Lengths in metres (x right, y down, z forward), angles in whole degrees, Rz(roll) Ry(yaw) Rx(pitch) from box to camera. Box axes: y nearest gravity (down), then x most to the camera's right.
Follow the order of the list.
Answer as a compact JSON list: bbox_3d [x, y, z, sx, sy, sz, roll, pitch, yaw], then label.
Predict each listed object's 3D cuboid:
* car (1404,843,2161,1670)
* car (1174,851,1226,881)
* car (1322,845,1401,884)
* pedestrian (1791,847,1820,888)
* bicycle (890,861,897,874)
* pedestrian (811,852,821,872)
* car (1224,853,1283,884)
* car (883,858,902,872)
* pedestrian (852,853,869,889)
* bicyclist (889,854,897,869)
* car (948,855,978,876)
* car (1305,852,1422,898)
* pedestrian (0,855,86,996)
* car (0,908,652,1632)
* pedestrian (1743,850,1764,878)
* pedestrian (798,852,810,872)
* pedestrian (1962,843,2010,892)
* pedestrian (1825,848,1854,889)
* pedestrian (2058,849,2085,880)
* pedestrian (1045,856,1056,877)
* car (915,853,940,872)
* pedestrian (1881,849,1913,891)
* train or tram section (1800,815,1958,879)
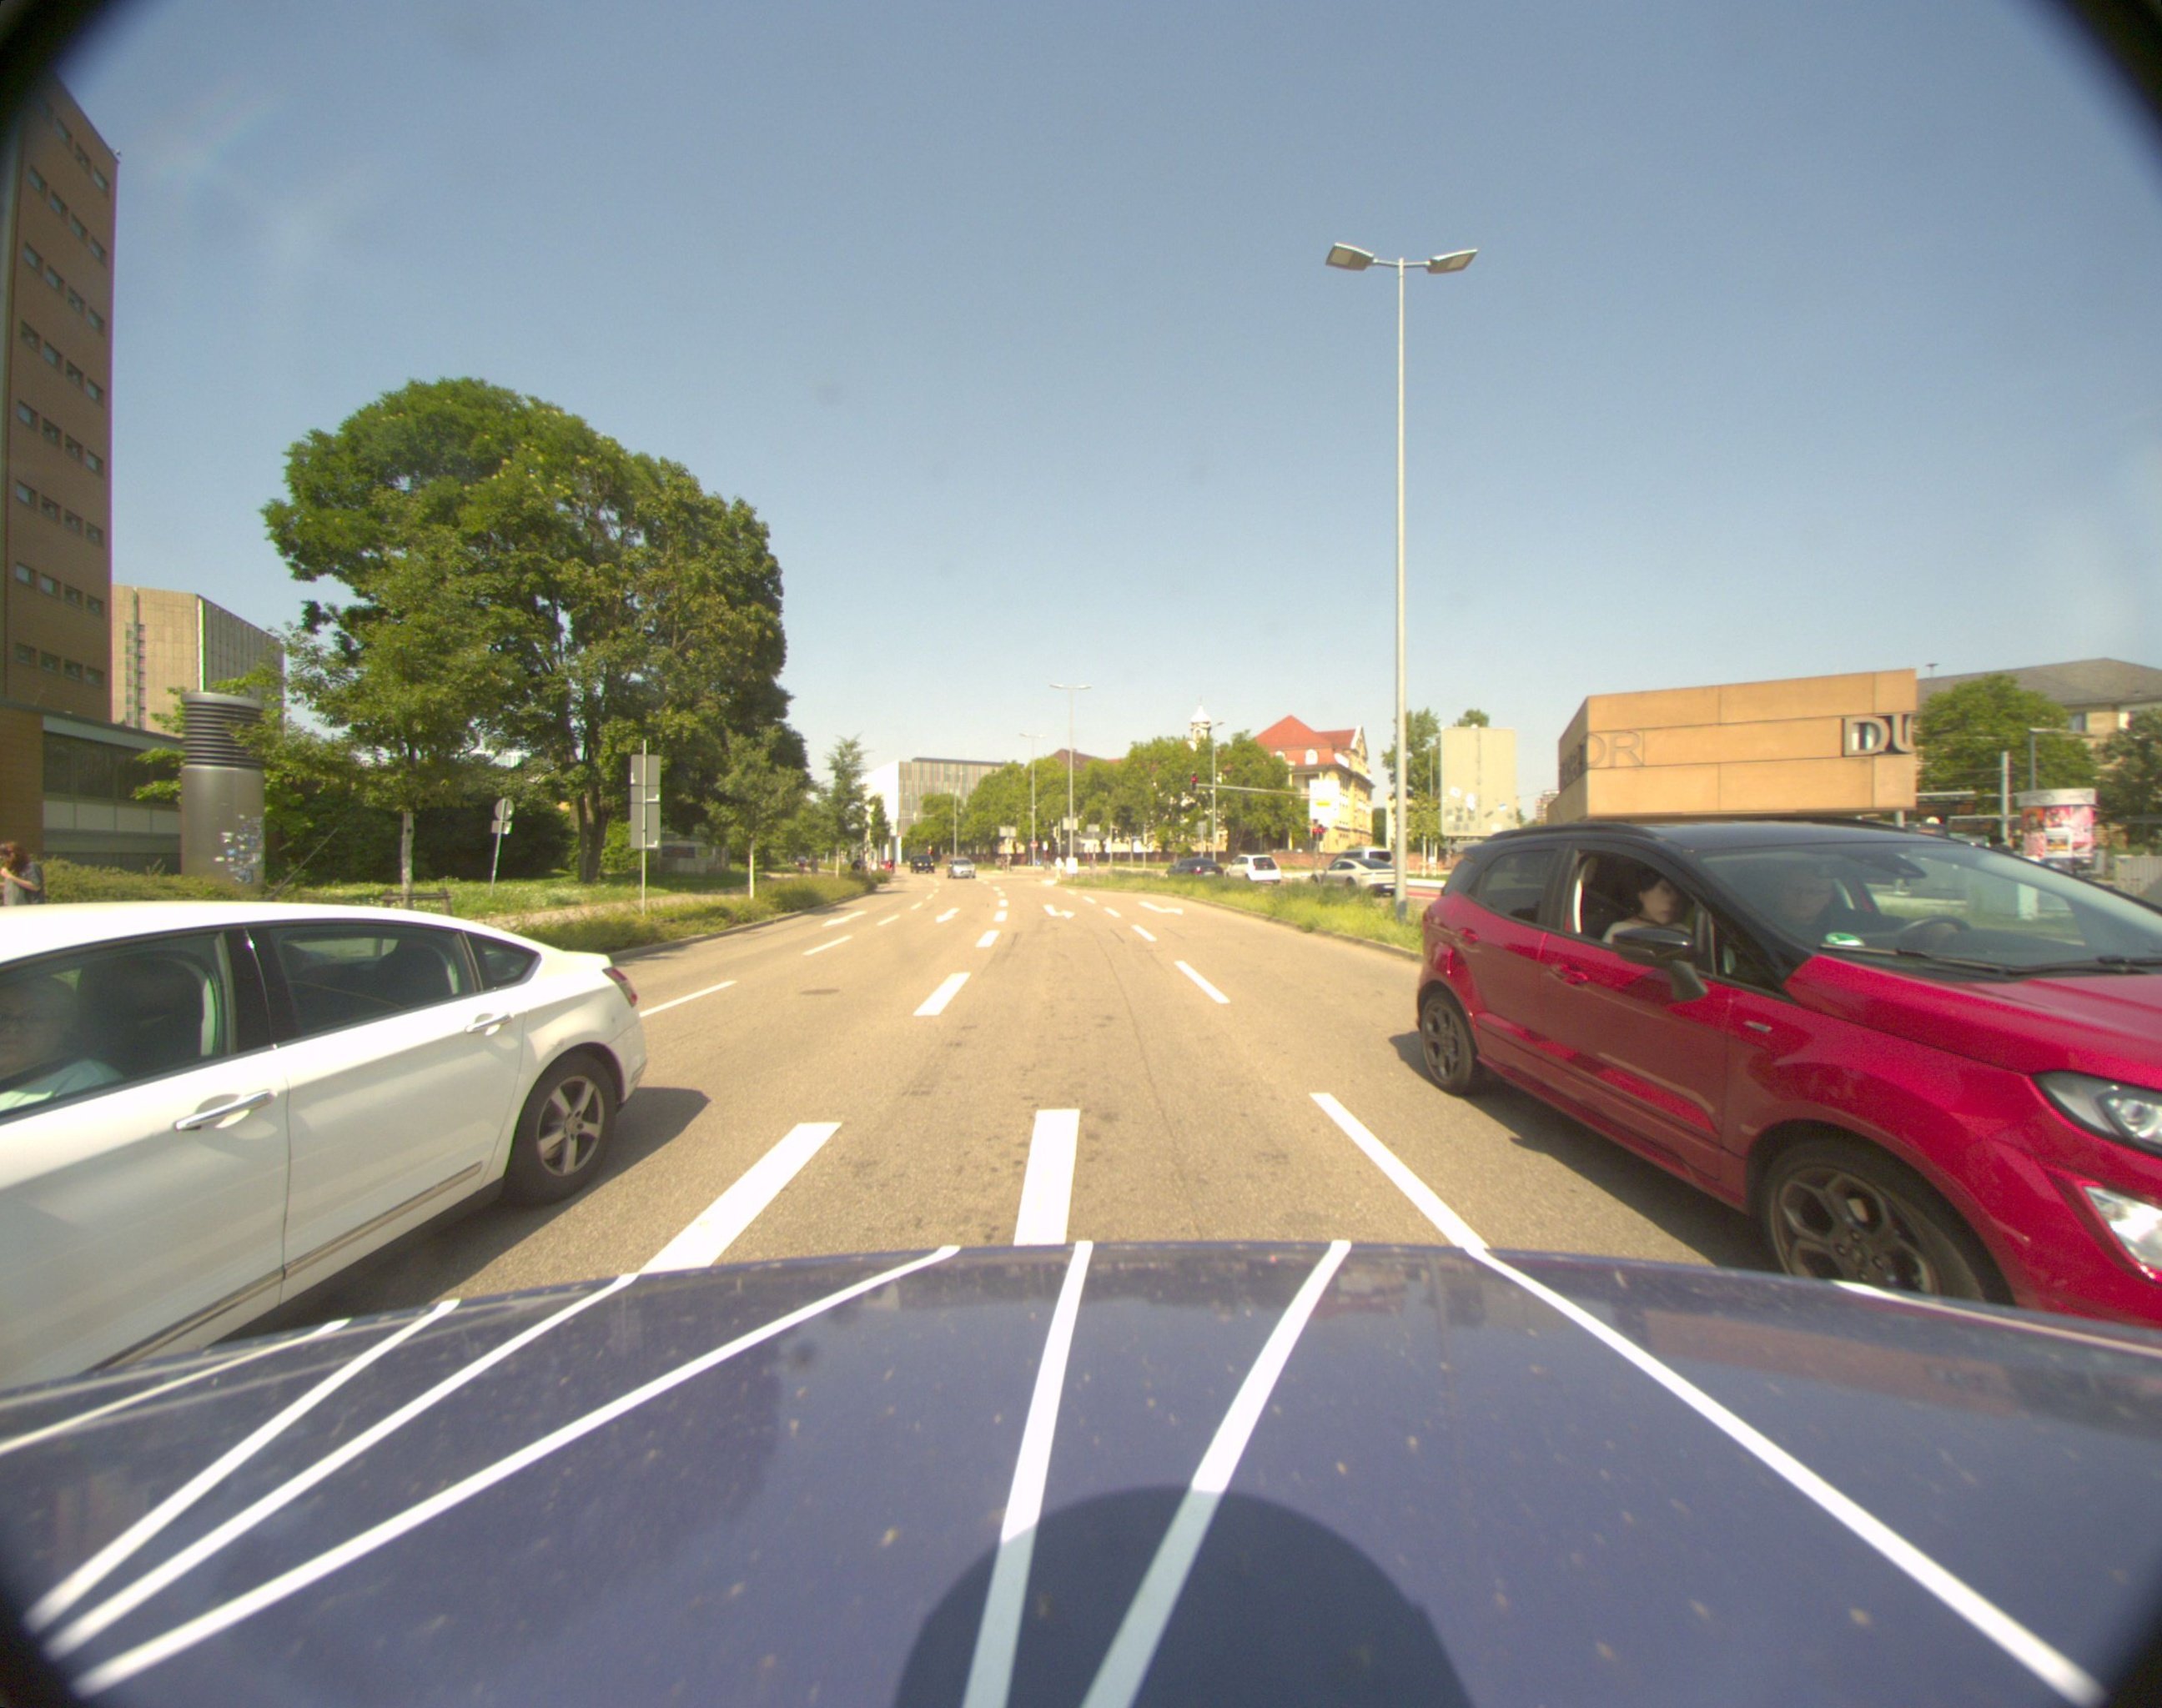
[{"bbox_3d":[3.031,0.776,3.361,1.694,1.577,3.845,-2,0,3],"label":"car"},{"bbox_3d":[5.717,0.553,36.856,1.526,1.417,3.474,0,0,-8],"label":"car"},{"bbox_3d":[13.829,0.477,37.689,1.869,1.843,3.911,0,1,-12],"label":"car"},{"bbox_3d":[26.663,0.503,27.965,0.539,1.488,0.541,0,1,-1],"label":"pedestrian"},{"bbox_3d":[-17.458,1.290,70.686,0.595,1.162,2.232,-1,0,-15],"label":"bicycle"},{"bbox_3d":[-17.754,0.515,50.876,0.577,1.291,0.436,-3,1,-20],"label":"pedestrian"},{"bbox_3d":[8.693,0.705,38.550,1.527,1.470,3.473,0,0,-13],"label":"car"},{"bbox_3d":[-20.177,1.171,81.319,1.652,1.422,3.810,-2,0,-18],"label":"car"},{"bbox_3d":[-11.797,0.914,40.646,0.823,1.892,0.630,-1,1,-12],"label":"pedestrian"},{"bbox_3d":[-17.483,0.717,70.734,0.680,1.392,1.048,-1,1,-15],"label":"bicyclist"},{"bbox_3d":[-9.187,0.893,58.839,1.661,1.521,4.527,-2,0,-17],"label":"car"},{"bbox_3d":[10.491,0.728,28.626,2.000,1.576,4.711,0,0,-10],"label":"car"},{"bbox_3d":[-13.278,0.857,9.467,0.672,1.689,0.806,0,0,0],"label":"pedestrian"},{"bbox_3d":[-3.287,1.021,1.883,1.773,1.420,4.609,0,0,1],"label":"car"},{"bbox_3d":[26.848,0.381,30.328,0.538,1.093,0.543,0,1,32],"label":"pedestrian"},{"bbox_3d":[-18.442,0.557,50.595,0.635,1.291,0.486,-3,1,-17],"label":"pedestrian"},{"bbox_3d":[28.055,0.405,23.559,0.771,1.488,0.606,0,1,-1],"label":"pedestrian"},{"bbox_3d":[27.880,0.517,27.929,0.539,1.488,0.541,0,1,-1],"label":"pedestrian"},{"bbox_3d":[45.090,0.474,34.590,0.554,1.386,0.534,0,1,28],"label":"pedestrian"},{"bbox_3d":[-1.955,0.789,48.682,0.605,1.291,0.617,-2,1,-4],"label":"pedestrian"},{"bbox_3d":[-16.074,0.842,79.507,1.893,1.908,4.526,-2,0,-20],"label":"car"},{"bbox_3d":[28.800,0.555,26.815,0.539,1.488,0.541,0,1,-1],"label":"pedestrian"},{"bbox_3d":[48.379,-0.394,46.715,2.698,3.418,13.446,0,0,28],"label":"train or tram section"}]
